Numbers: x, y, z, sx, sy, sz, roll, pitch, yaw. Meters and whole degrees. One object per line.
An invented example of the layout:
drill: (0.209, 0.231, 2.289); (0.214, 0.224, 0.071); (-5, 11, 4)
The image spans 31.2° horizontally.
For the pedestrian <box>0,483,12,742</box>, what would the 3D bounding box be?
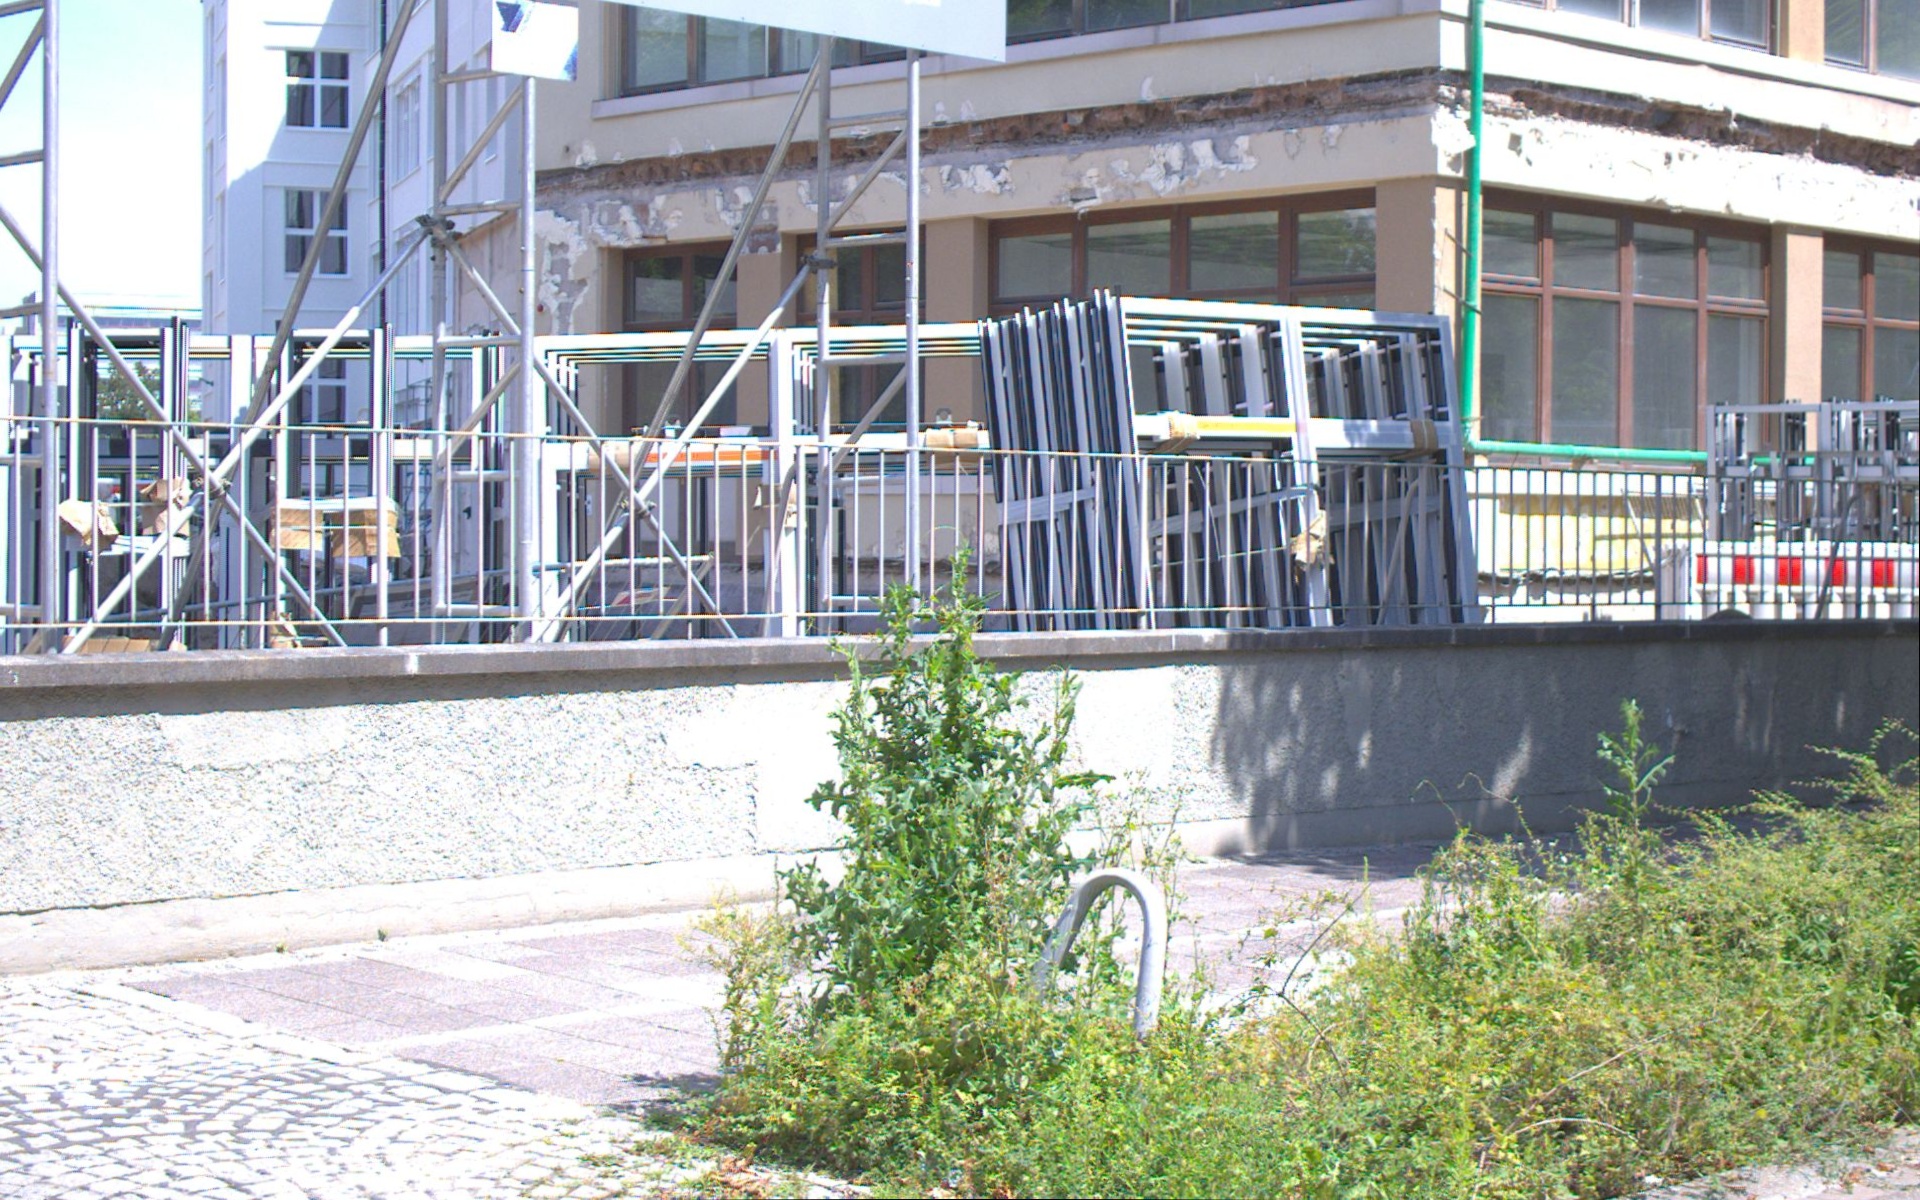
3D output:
pedestrian: (-7.284, 0.077, 24.118); (0.964, 1.813, 0.870); (0, 1, -36)
